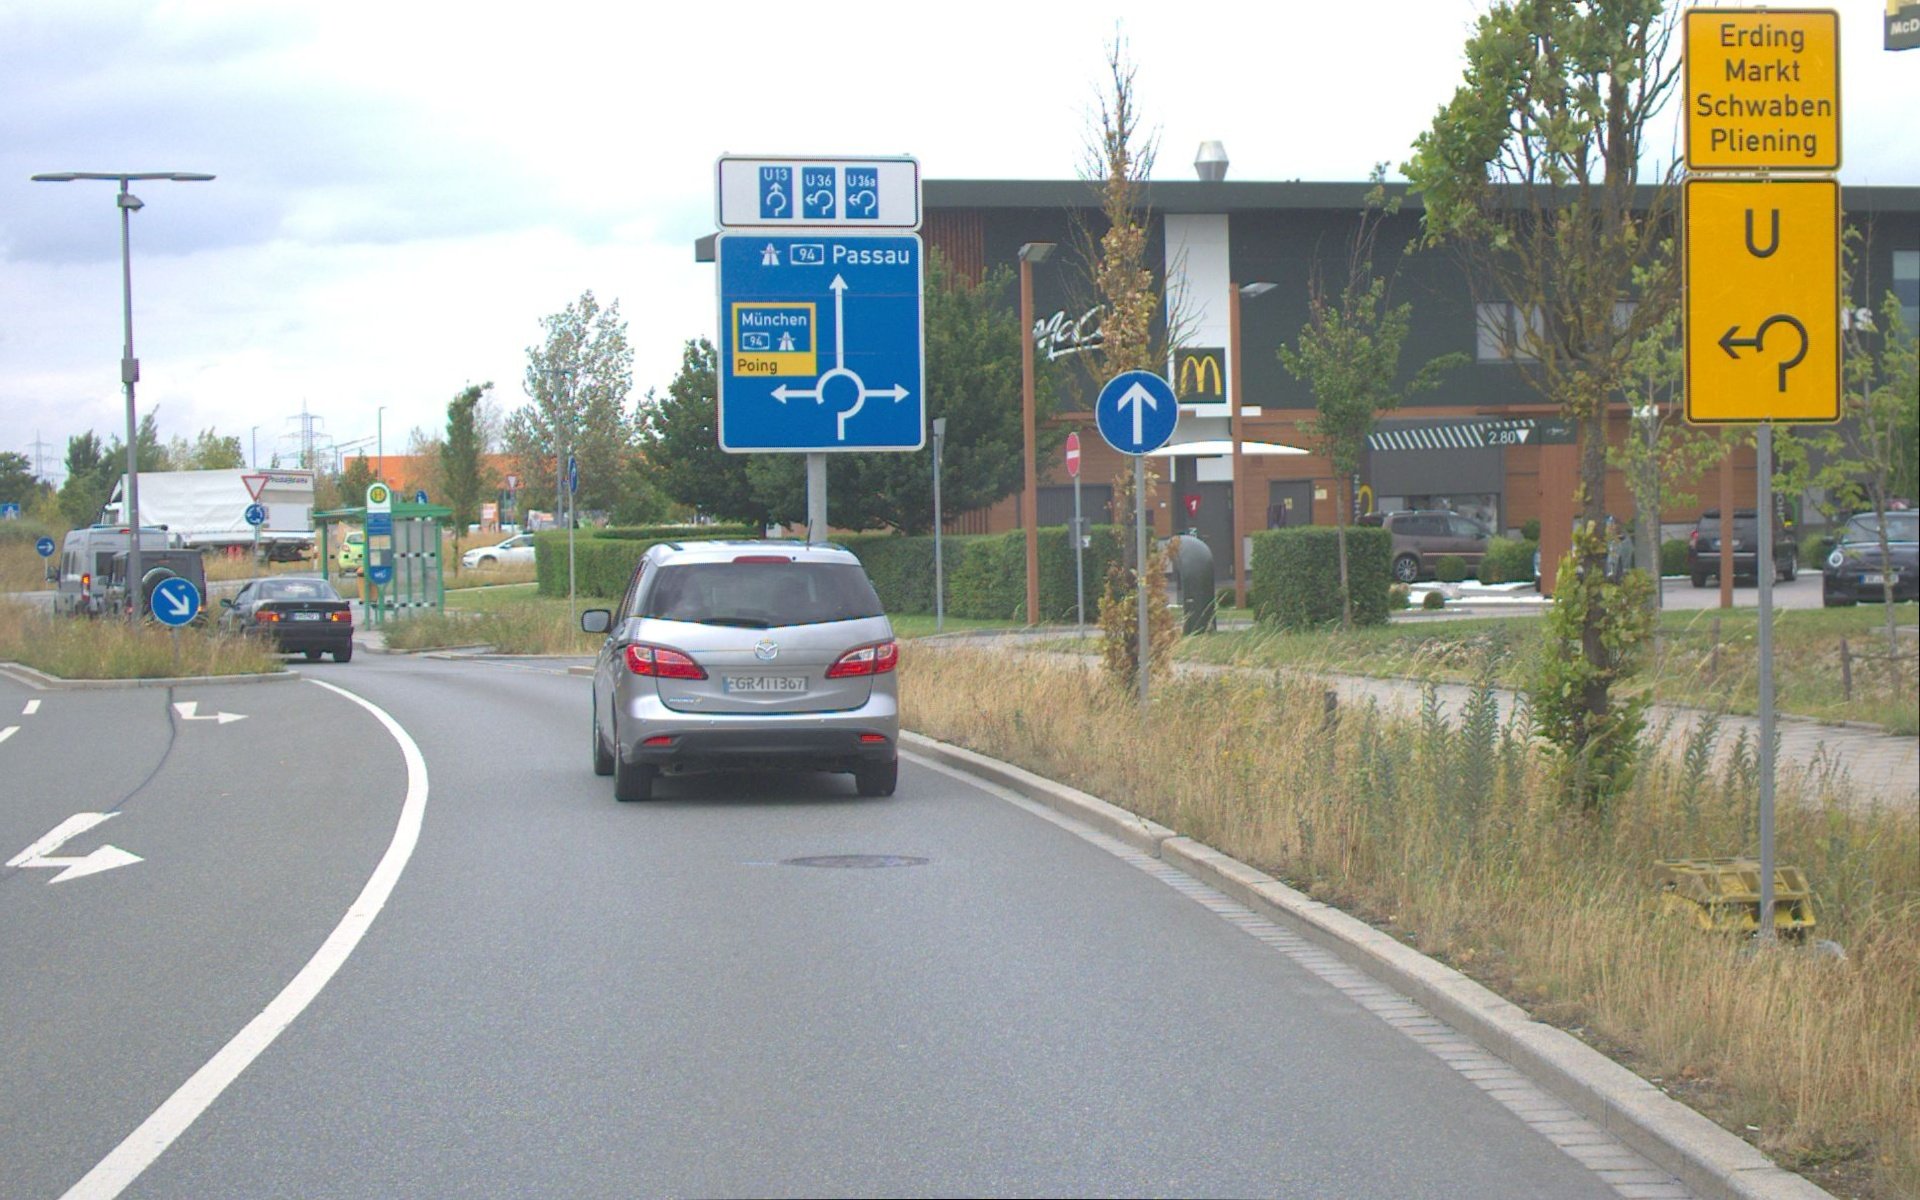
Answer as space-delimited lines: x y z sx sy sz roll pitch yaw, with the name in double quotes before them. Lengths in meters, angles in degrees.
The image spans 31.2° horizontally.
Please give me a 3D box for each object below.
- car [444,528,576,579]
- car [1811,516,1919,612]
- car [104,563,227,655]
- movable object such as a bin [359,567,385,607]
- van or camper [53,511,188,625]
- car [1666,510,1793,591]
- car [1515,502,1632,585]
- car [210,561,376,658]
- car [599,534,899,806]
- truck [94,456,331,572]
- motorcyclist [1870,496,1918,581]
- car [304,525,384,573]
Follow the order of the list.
"car" -16.200 -1.684 123.658 4.601 1.751 2.001 -1 1 -10
"car" 13.547 -0.554 50.229 1.813 1.308 3.846 -1 2 19
"car" -16.615 0.155 71.752 2.058 1.819 4.787 -1 1 -18
"movable object such as a bin" -11.896 -0.265 69.552 0.456 0.795 0.380 -1 1 -21
"van or camper" -19.296 -0.760 78.830 2.302 2.497 5.207 -1 1 -21
"car" 16.775 -1.092 74.822 2.118 1.711 4.226 0 1 21
"car" 13.078 -1.207 73.134 1.995 1.711 3.997 0 1 17
"car" -10.624 0.123 54.573 1.844 1.413 4.226 -2 2 -21
"car" -1.443 0.376 22.196 1.729 1.594 3.808 0 1 -7
"truck" -26.906 -3.060 123.488 9.326 3.893 3.136 -1 1 39
"motorcyclist" 20.329 -1.333 74.857 0.962 1.826 0.844 0 1 18
"car" -20.422 -1.682 113.884 1.993 1.510 4.001 -2 1 -19
